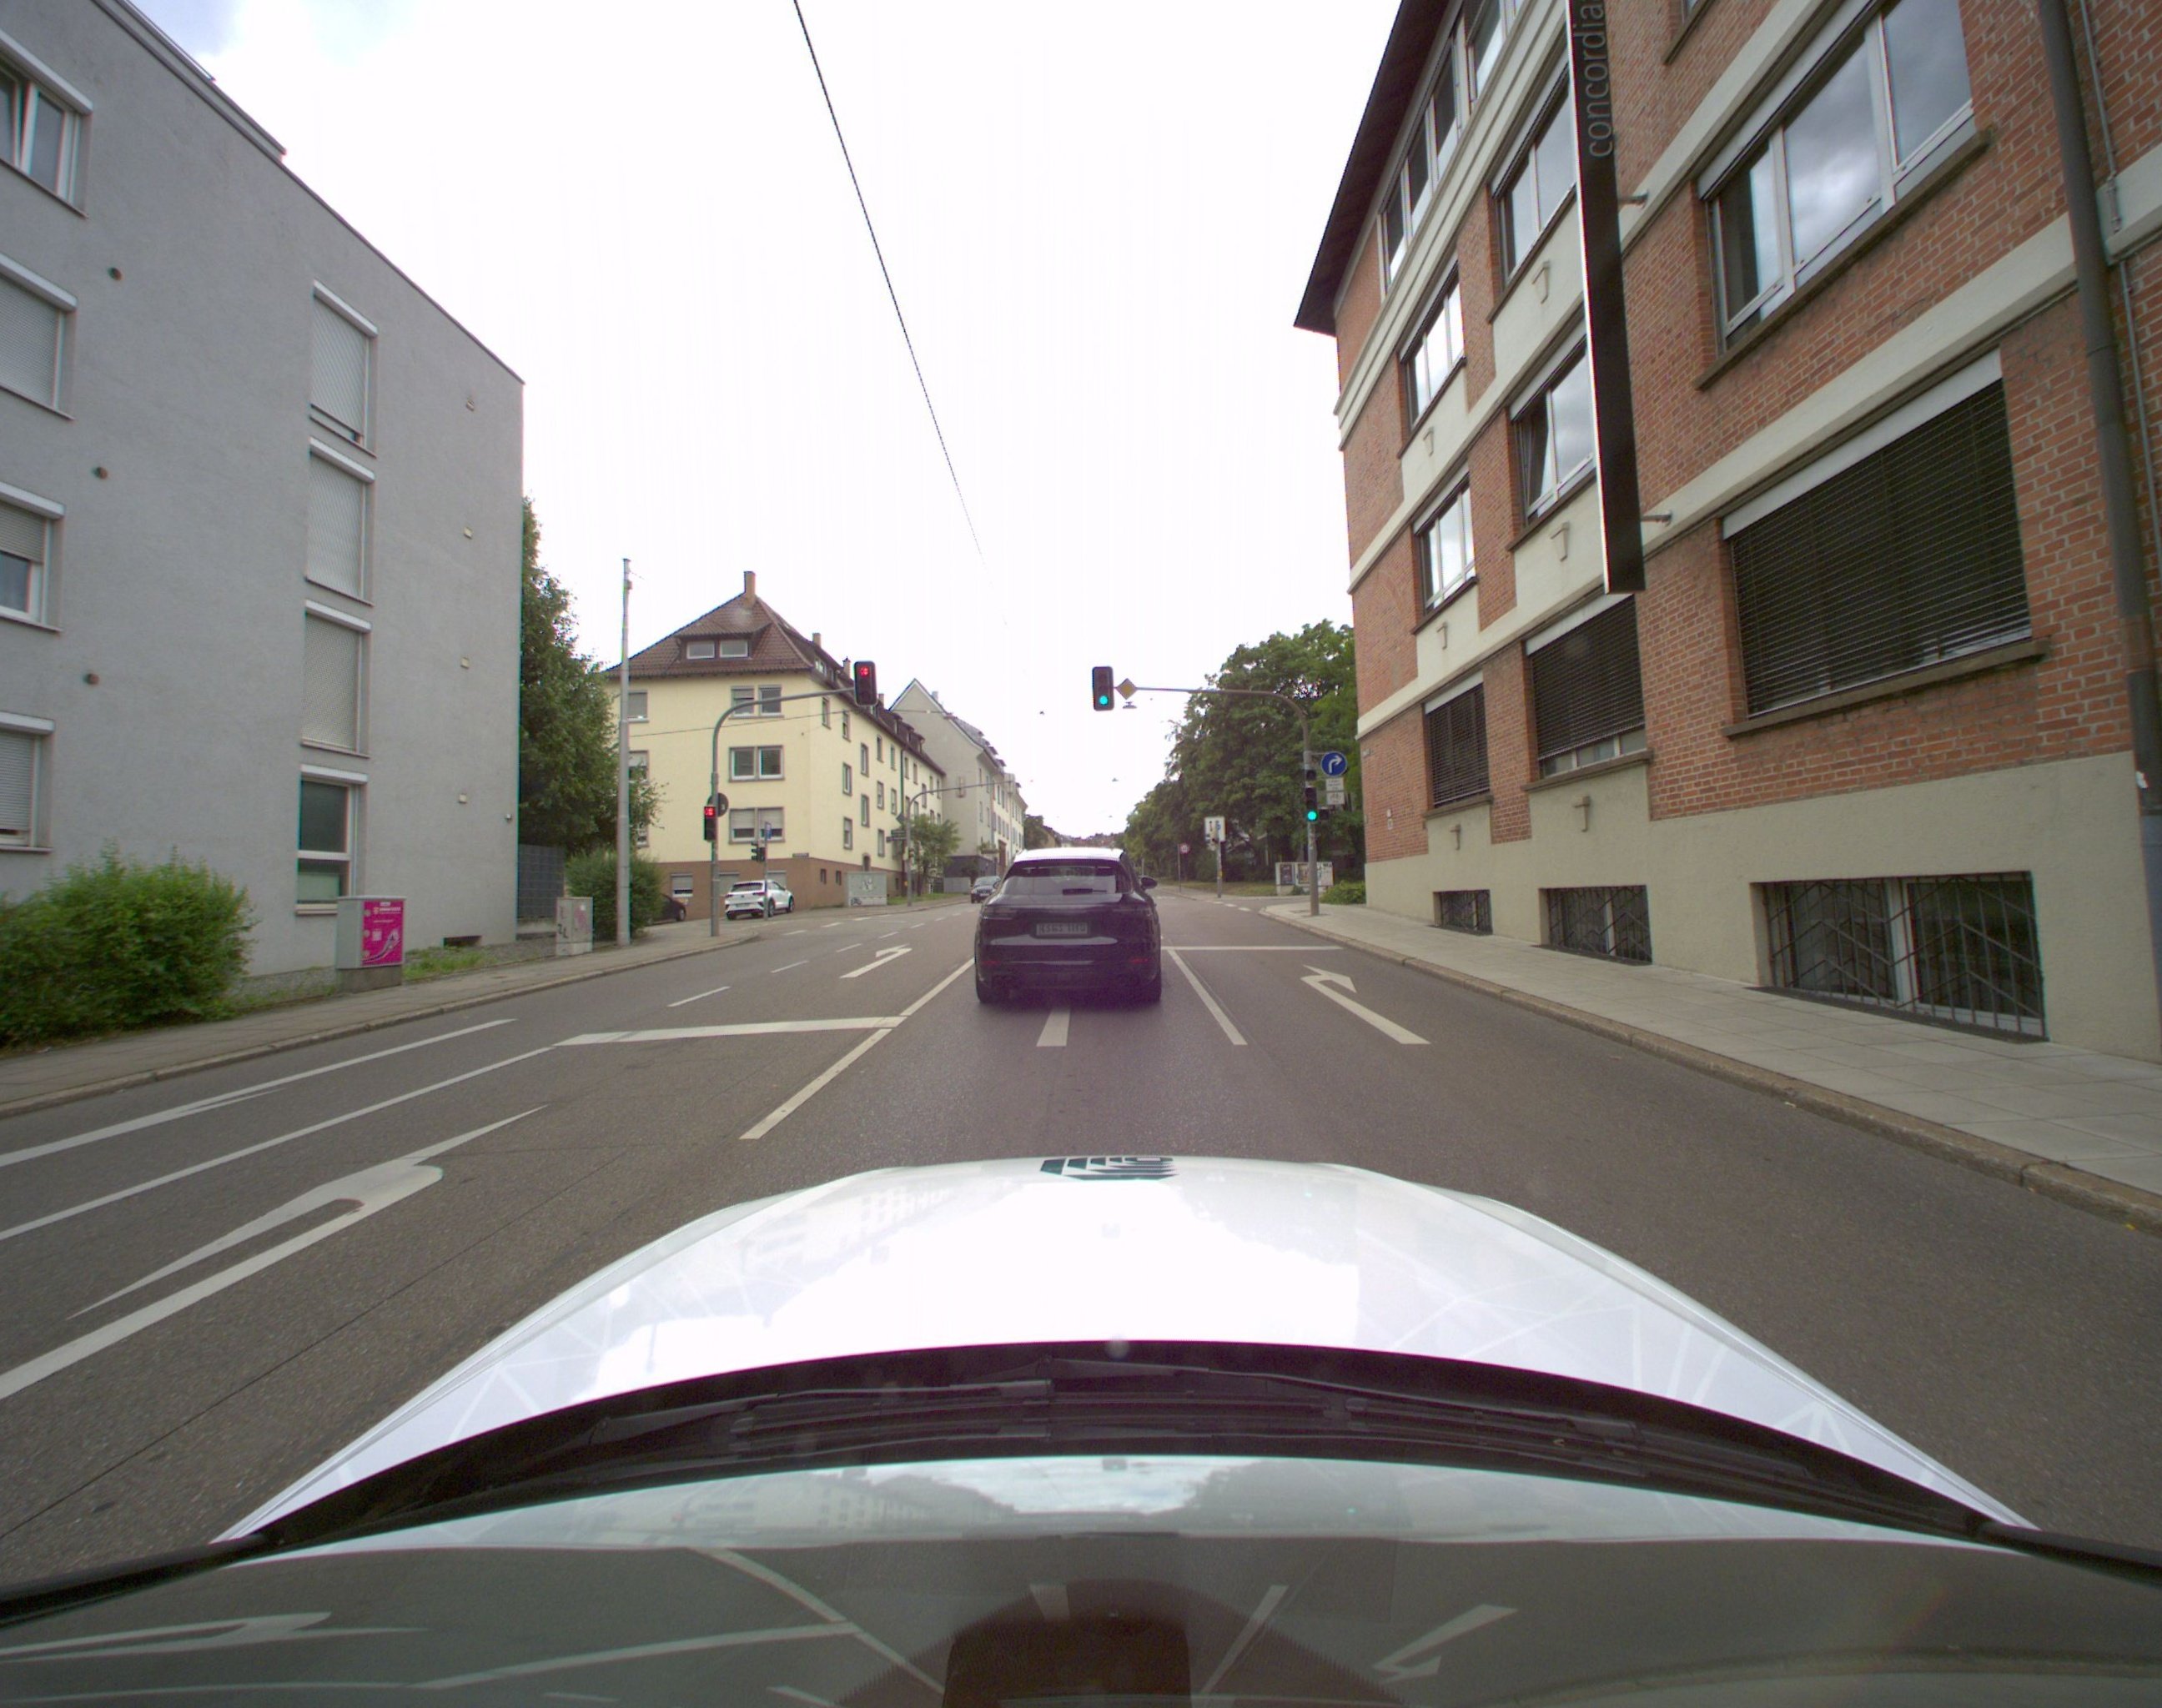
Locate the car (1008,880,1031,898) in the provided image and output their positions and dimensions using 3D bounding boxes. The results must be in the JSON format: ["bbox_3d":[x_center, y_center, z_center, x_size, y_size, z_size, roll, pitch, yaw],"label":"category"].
[{"bbox_3d":[-5.261,2.954,69.954,1.665,1.362,3.998,-1,-1,-1],"label":"car"}]

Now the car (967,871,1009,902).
[{"bbox_3d":[-5.198,1.806,45.977,1.657,1.519,3.742,-5,-1,2],"label":"car"}]

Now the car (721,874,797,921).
[{"bbox_3d":[-13.536,1.778,34.469,1.666,1.662,3.996,-4,0,-3],"label":"car"}]

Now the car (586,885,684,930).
[{"bbox_3d":[-18.600,2.187,34.181,1.664,1.546,4.103,-5,-1,2],"label":"car"}]

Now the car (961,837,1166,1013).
[{"bbox_3d":[-0.107,0.702,9.908,1.986,1.697,4.001,0,-1,2],"label":"car"}]

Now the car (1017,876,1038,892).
[{"bbox_3d":[-5.026,2.855,77.366,1.664,1.362,3.999,-1,-1,0],"label":"car"}]
